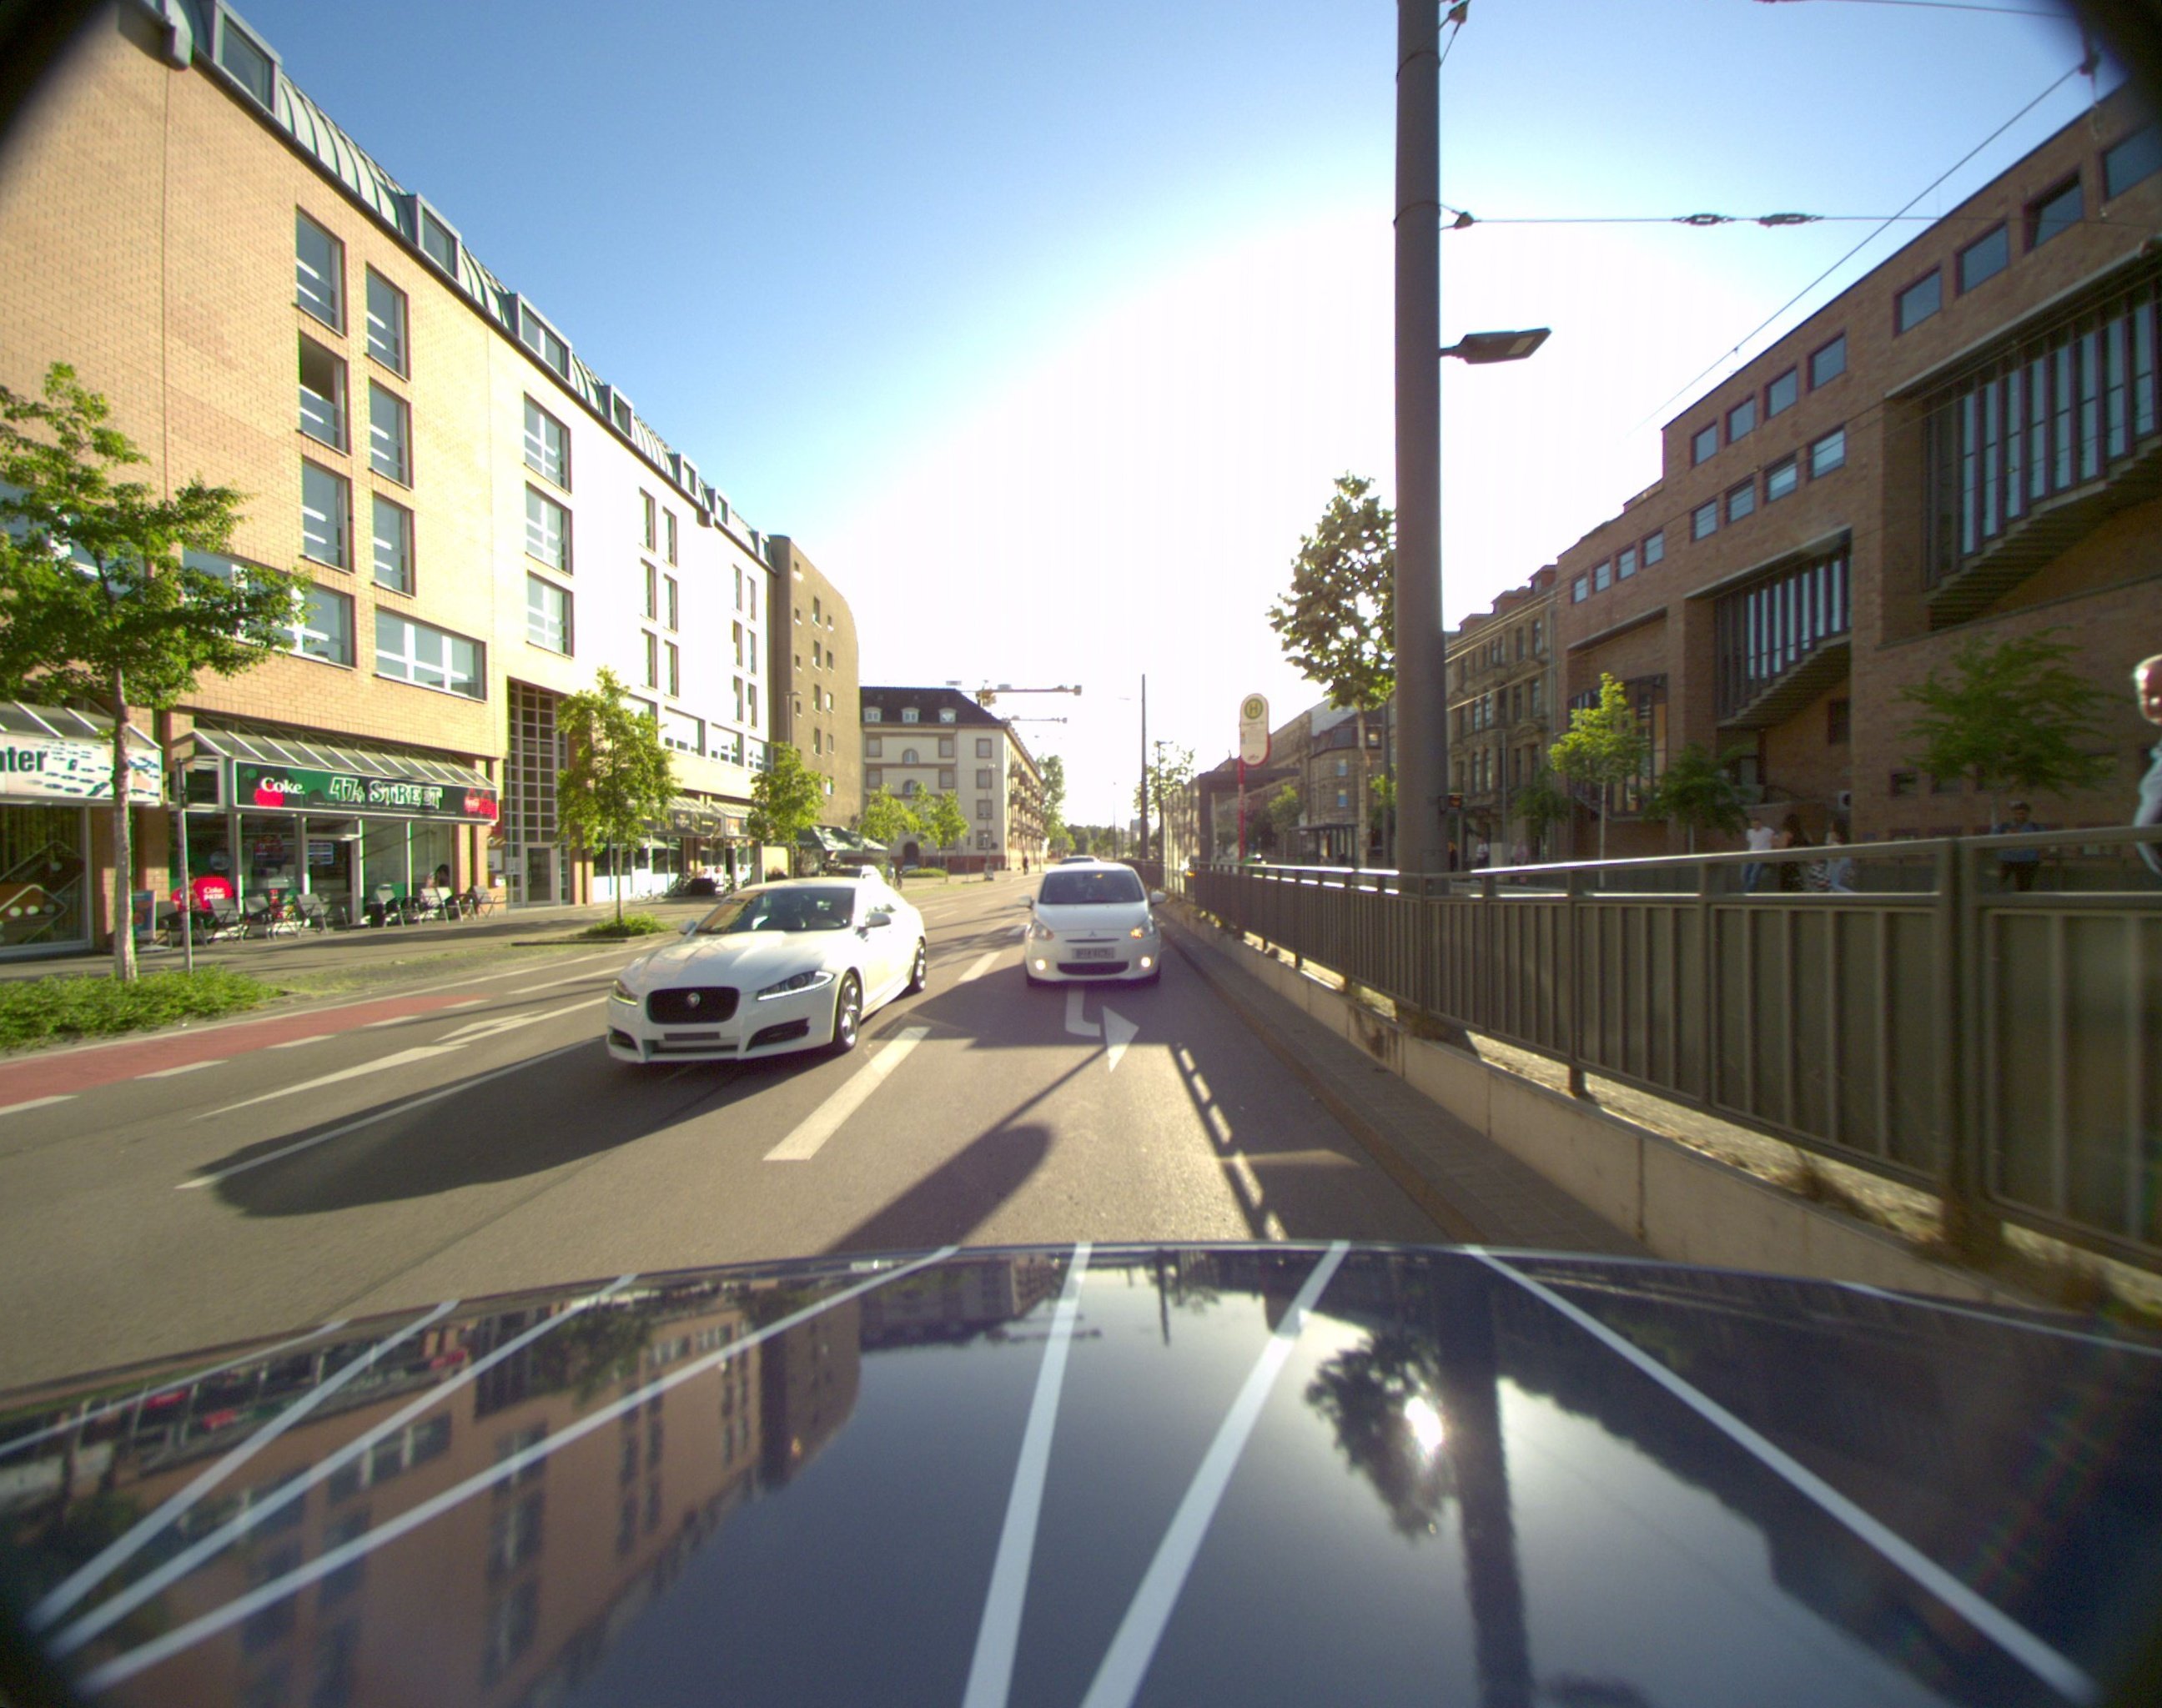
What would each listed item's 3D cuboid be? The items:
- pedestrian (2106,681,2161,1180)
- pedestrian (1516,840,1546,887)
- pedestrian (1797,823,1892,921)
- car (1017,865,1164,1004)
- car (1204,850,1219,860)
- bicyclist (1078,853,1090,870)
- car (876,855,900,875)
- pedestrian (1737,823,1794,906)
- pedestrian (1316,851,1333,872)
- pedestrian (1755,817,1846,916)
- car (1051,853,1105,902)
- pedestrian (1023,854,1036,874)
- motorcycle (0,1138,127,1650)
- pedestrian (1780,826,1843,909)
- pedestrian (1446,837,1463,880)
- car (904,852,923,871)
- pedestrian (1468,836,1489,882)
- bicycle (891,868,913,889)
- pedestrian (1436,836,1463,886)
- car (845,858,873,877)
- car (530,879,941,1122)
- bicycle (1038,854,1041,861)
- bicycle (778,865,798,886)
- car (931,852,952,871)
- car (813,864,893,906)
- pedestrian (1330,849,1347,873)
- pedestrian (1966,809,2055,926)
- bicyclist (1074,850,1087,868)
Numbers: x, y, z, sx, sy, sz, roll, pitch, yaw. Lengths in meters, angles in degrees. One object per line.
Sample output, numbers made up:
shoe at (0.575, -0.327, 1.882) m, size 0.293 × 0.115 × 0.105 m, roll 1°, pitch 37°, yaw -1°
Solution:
pedestrian at (3.859, 0.252, 2.387) m, size 0.549 × 1.659 × 0.521 m, roll -2°, pitch 1°, yaw 1°
pedestrian at (14.359, 0.295, 24.259) m, size 0.540 × 1.451 × 0.642 m, roll -3°, pitch 1°, yaw 1°
pedestrian at (13.193, 0.297, 13.161) m, size 0.642 × 1.598 × 0.945 m, roll -3°, pitch 1°, yaw 1°
car at (0.137, 0.931, 10.631) m, size 1.634 × 1.499 × 4.350 m, roll 0°, pitch 0°, yaw 1°
car at (23.172, 0.242, 134.858) m, size 1.943 × 1.648 × 4.545 m, roll -3°, pitch 0°, yaw 2°
bicyclist at (0.298, 0.756, 78.173) m, size 0.886 × 1.763 × 0.854 m, roll -1°, pitch 1°, yaw -26°
car at (-15.744, 0.893, 62.089) m, size 1.668 × 1.466 × 3.833 m, roll -3°, pitch 0°, yaw -11°
pedestrian at (14.387, 0.213, 15.987) m, size 0.624 × 1.705 × 0.616 m, roll -2°, pitch 1°, yaw 1°
pedestrian at (13.744, 0.440, 42.968) m, size 0.723 × 1.161 × 0.721 m, roll 1°, pitch 1°, yaw 1°
pedestrian at (12.460, 0.212, 13.186) m, size 0.642 × 1.633 × 0.945 m, roll -3°, pitch 1°, yaw 1°
car at (-0.059, 0.885, 30.752) m, size 1.899 × 1.730 × 4.000 m, roll -3°, pitch 0°, yaw 3°
pedestrian at (-4.666, 0.937, 69.003) m, size 0.885 × 1.753 × 1.106 m, roll 1°, pitch 2°, yaw 10°
motorcycle at (-2.818, 1.243, 0.622) m, size 0.839 × 1.056 × 2.552 m, roll -1°, pitch 0°, yaw 0°
pedestrian at (14.412, 0.262, 15.008) m, size 0.624 × 1.602 × 0.616 m, roll -2°, pitch 1°, yaw 1°
pedestrian at (14.530, 0.172, 29.557) m, size 0.379 × 1.639 × 0.416 m, roll -3°, pitch 1°, yaw 1°
car at (-16.324, 0.667, 74.106) m, size 1.629 × 1.677 × 4.434 m, roll -2°, pitch 2°, yaw -11°
pedestrian at (14.217, 0.189, 27.179) m, size 0.379 × 1.612 × 0.553 m, roll -3°, pitch 1°, yaw 1°
bicycle at (-10.090, 1.371, 42.914) m, size 0.767 × 1.075 × 1.997 m, roll 4°, pitch 1°, yaw -3°
pedestrian at (12.912, 0.239, 26.619) m, size 0.642 × 1.686 × 0.541 m, roll -3°, pitch 1°, yaw 1°
car at (-17.979, 1.054, 61.659) m, size 1.637 × 1.444 × 3.653 m, roll -3°, pitch 0°, yaw -9°
car at (-2.808, 1.086, 7.599) m, size 1.785 × 1.406 × 4.818 m, roll -3°, pitch 0°, yaw 1°
bicycle at (-6.662, 0.534, 122.302) m, size 0.419 × 1.089 × 2.198 m, roll -1°, pitch 0°, yaw 1°
bicycle at (-17.071, 1.236, 44.344) m, size 0.615 × 1.162 × 1.536 m, roll 1°, pitch 0°, yaw -2°
car at (-13.625, 0.741, 74.258) m, size 1.697 × 1.676 × 4.437 m, roll -3°, pitch 0°, yaw -7°
car at (-9.794, 1.286, 32.974) m, size 1.724 × 1.627 × 4.233 m, roll 0°, pitch 1°, yaw 7°
pedestrian at (13.873, 0.370, 40.926) m, size 0.647 × 1.301 × 0.721 m, roll 1°, pitch 1°, yaw 1°
pedestrian at (14.147, 0.201, 11.575) m, size 0.583 × 1.728 × 0.616 m, roll -2°, pitch 1°, yaw 1°
bicyclist at (-0.048, 0.471, 75.725) m, size 0.935 × 1.753 × 0.737 m, roll 0°, pitch 1°, yaw 42°
